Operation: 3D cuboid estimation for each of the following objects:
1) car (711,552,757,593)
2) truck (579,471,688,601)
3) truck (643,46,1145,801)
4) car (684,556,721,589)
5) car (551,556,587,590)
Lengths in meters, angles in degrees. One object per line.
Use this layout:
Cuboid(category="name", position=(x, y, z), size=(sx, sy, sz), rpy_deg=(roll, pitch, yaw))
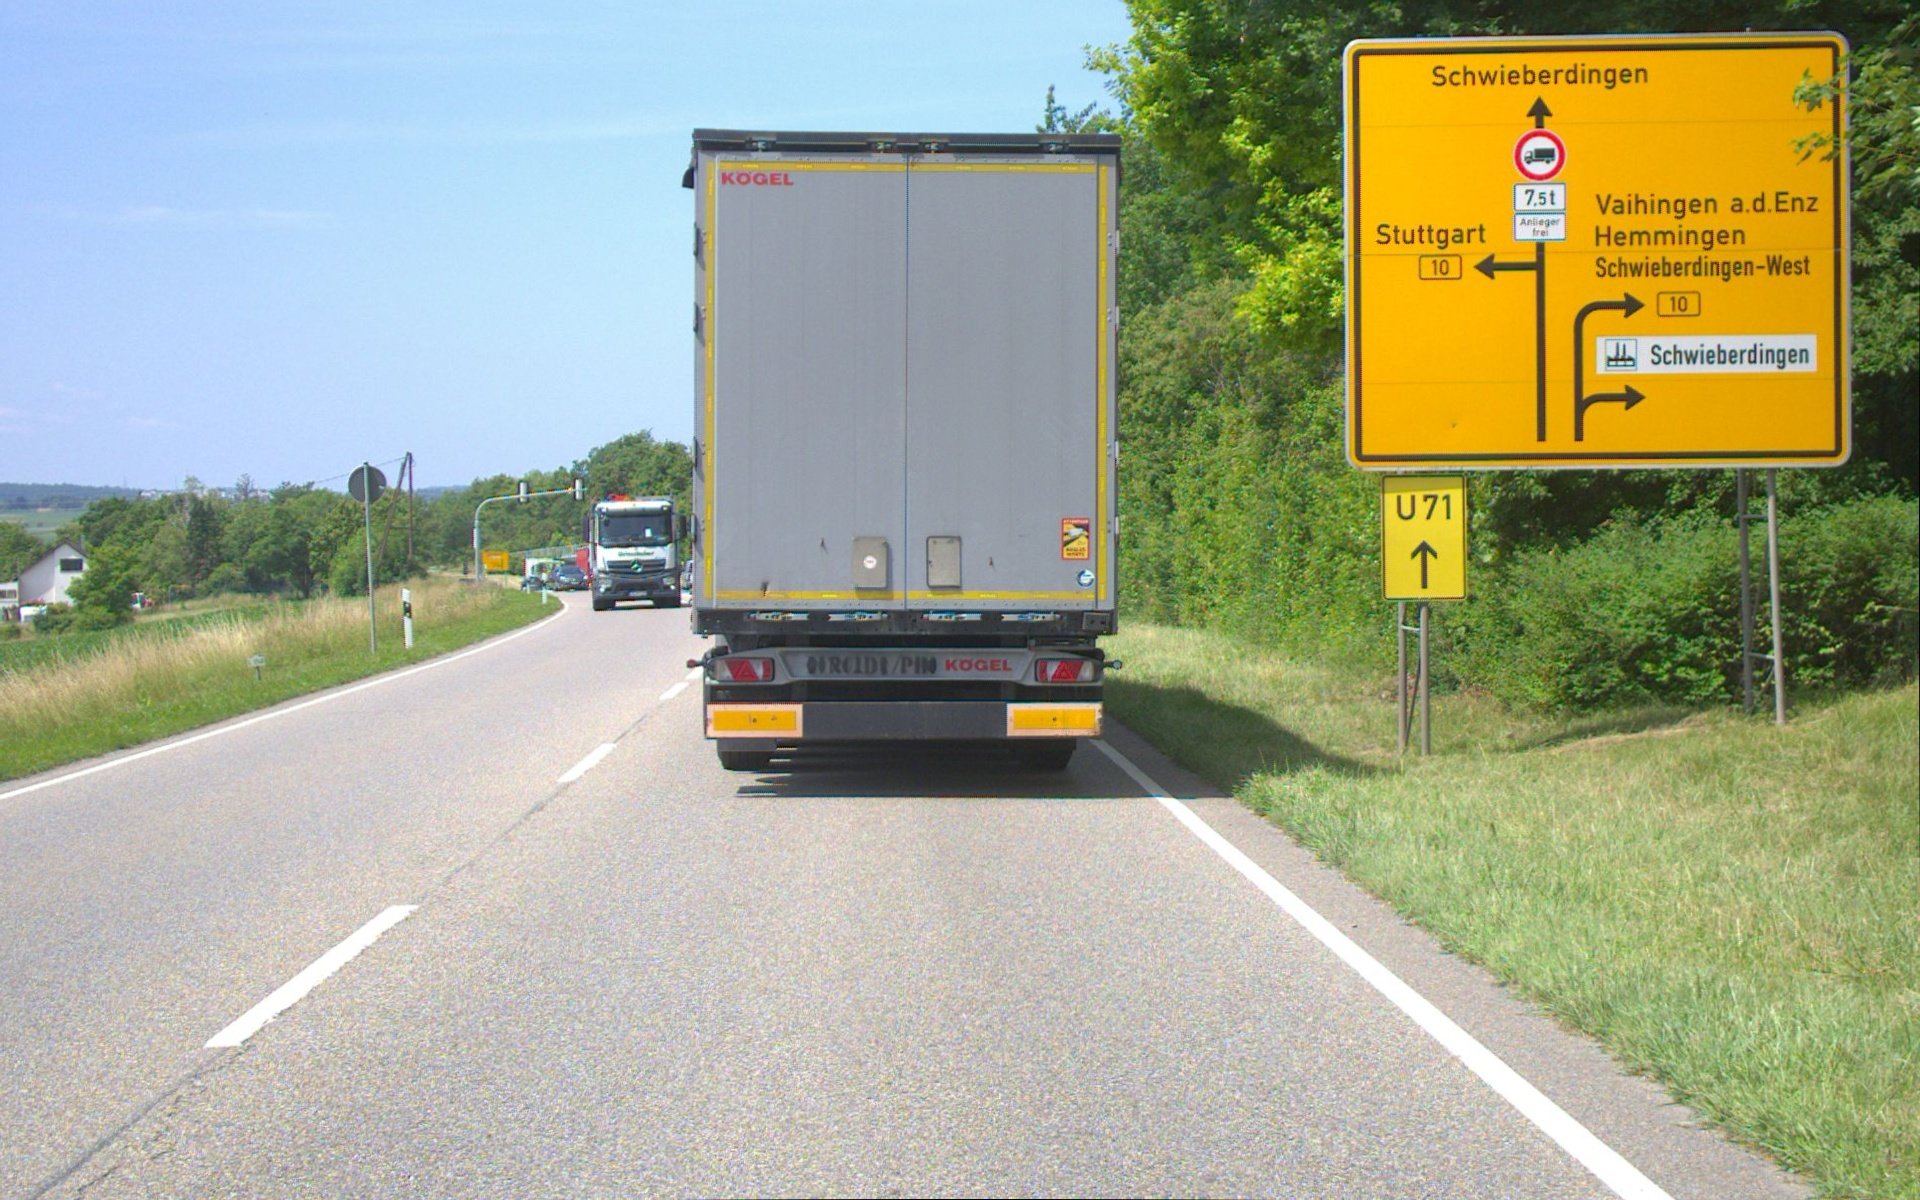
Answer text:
Cuboid(category="car", position=(-11.883, -1.458, 180.580), size=(2.171, 2.007, 4.527), rpy_deg=(-2, 1, -6))
Cuboid(category="truck", position=(-9.715, -1.862, 103.197), size=(2.756, 3.564, 11.067), rpy_deg=(-3, 1, -4))
Cuboid(category="truck", position=(-0.620, -1.101, 24.592), size=(2.907, 4.395, 8.861), rpy_deg=(0, 1, -3))
Cuboid(category="car", position=(-14.654, -1.548, 195.334), size=(1.892, 1.771, 4.387), rpy_deg=(-2, 1, -6))
Cuboid(category="car", position=(-23.593, -1.649, 207.242), size=(1.993, 1.943, 4.504), rpy_deg=(-3, 1, -7))
